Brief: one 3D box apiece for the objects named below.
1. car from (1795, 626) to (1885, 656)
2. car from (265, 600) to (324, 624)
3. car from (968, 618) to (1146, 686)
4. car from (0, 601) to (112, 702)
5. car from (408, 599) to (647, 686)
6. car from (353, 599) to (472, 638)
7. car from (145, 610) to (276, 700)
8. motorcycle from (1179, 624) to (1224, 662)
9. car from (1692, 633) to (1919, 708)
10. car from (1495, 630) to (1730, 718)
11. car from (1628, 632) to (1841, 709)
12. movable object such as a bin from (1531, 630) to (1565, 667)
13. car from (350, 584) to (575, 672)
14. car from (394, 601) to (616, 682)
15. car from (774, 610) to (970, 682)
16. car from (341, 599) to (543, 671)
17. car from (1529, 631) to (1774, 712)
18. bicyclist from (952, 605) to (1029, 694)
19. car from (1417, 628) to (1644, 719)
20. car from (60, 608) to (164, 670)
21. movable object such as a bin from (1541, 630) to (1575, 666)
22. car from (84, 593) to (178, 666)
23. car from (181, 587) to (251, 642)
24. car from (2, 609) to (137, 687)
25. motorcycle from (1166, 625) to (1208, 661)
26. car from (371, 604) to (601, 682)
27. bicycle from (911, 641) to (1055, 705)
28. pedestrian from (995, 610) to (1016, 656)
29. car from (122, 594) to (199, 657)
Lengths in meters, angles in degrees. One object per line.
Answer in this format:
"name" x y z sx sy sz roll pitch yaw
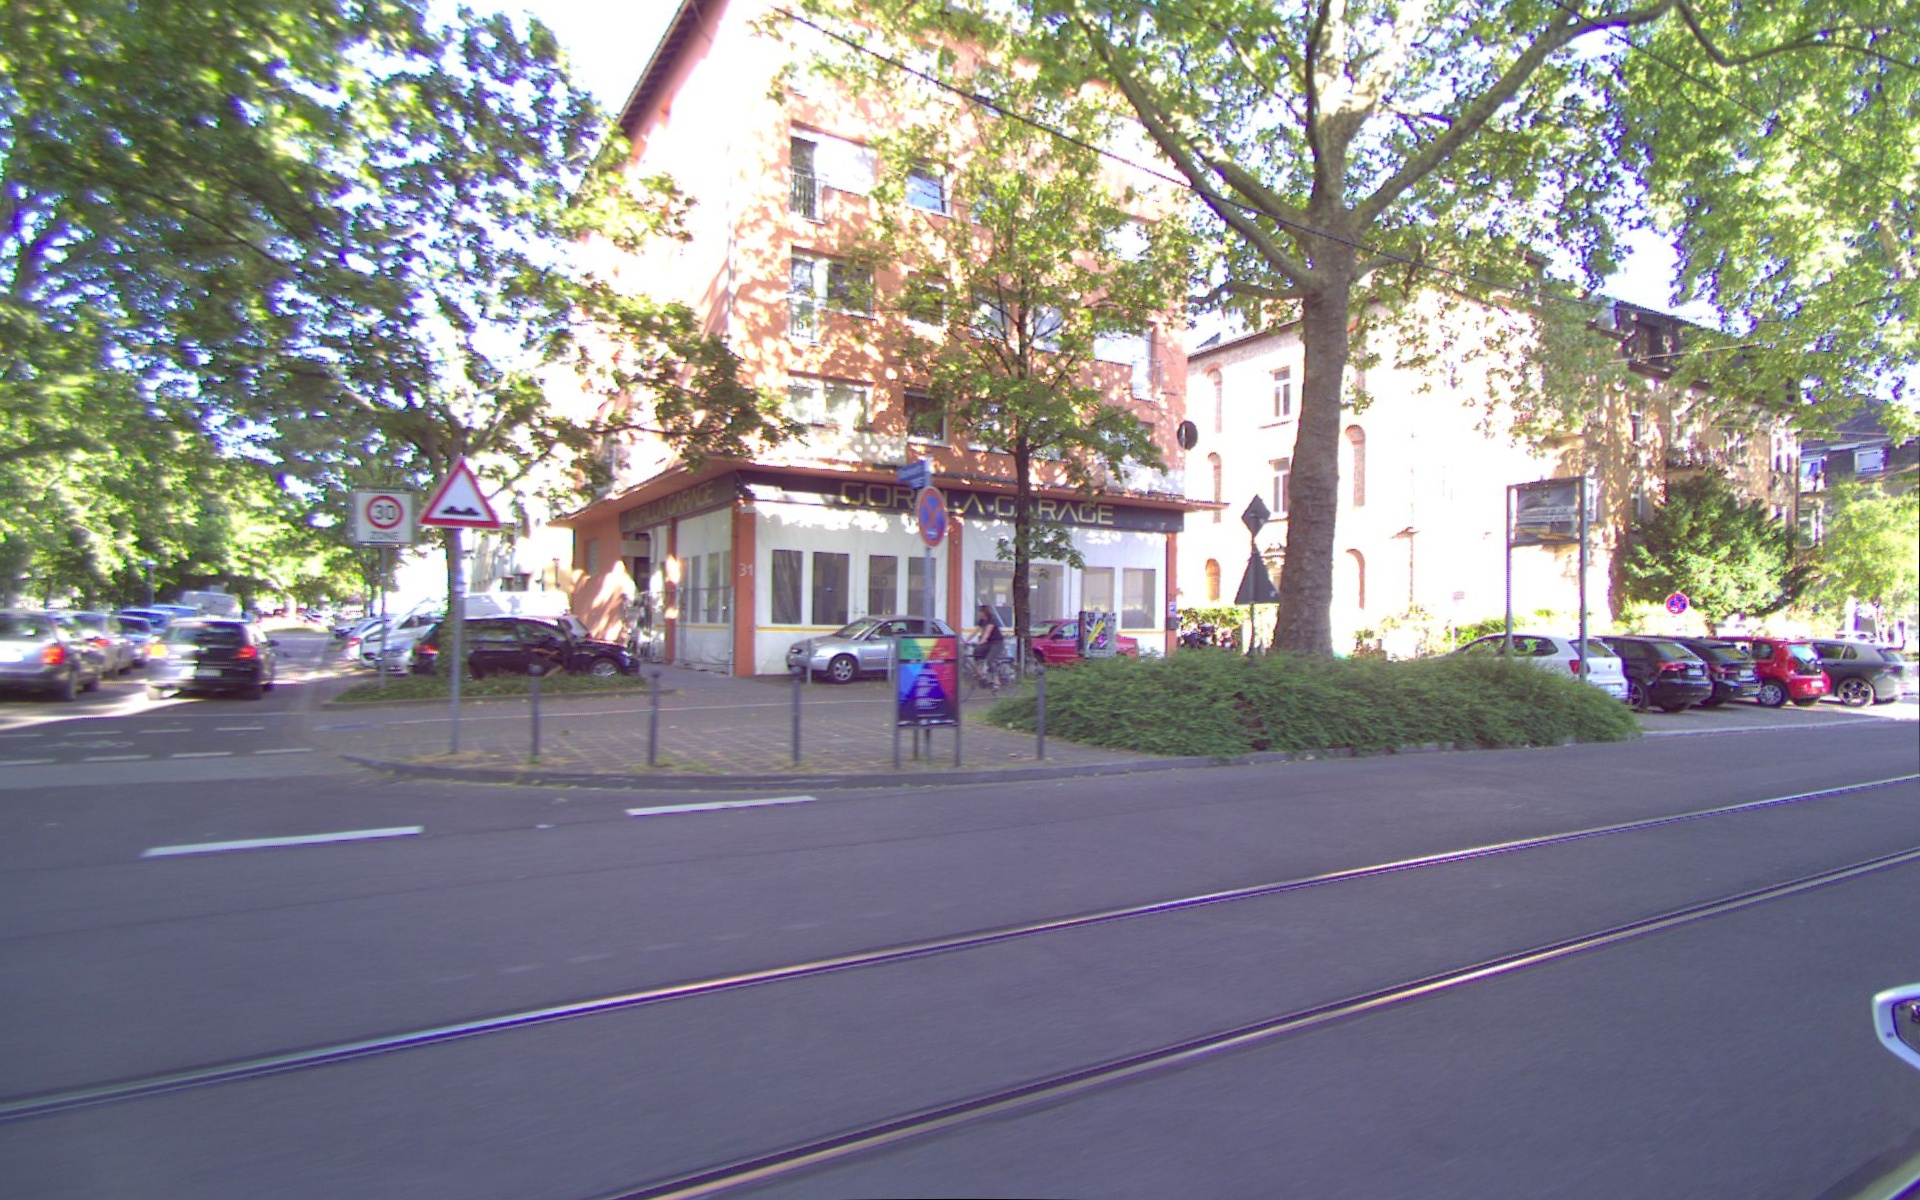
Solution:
"car" 50.154 2.320 57.230 4.669 1.613 1.853 1 0 -20
"car" -64.463 1.167 97.375 4.698 2.274 1.980 2 0 -35
"car" 2.402 1.257 24.746 3.952 1.507 1.939 2 0 -29
"car" -16.042 0.794 17.210 1.842 1.509 4.498 2 0 -35
"car" -8.403 0.795 19.685 3.967 1.513 1.797 2 0 -40
"car" -24.317 0.816 44.685 4.442 1.639 1.930 2 0 -37
"car" -14.089 0.992 19.070 1.726 1.468 3.962 3 -2 -34
"motorcycle" 8.886 1.576 36.903 1.608 1.321 0.639 1 0 -30
"car" 20.033 1.586 23.786 1.832 1.484 3.969 1 0 -29
"car" 12.931 1.408 20.123 1.665 1.484 3.588 1 0 -27
"car" 17.408 1.527 22.722 1.737 1.484 3.407 1 0 -27
"movable object such as a bin" 18.484 1.505 31.580 0.536 1.124 0.721 1 0 -28
"car" -12.551 0.693 25.466 4.871 2.030 1.980 2 0 -35
"car" -9.681 0.847 21.487 3.966 1.546 1.977 2 0 -39
"car" -1.935 0.984 22.172 3.846 1.426 1.939 2 0 -29
"car" -14.484 0.958 28.179 4.868 1.869 1.982 2 0 -34
"car" 14.994 1.487 22.032 1.797 1.484 4.067 1 0 -27
"bicyclist" 0.553 0.863 17.939 1.108 1.527 0.793 1 0 -40
"car" 10.774 1.326 19.191 1.675 1.484 3.407 1 0 -27
"car" -22.345 0.975 26.581 1.671 1.469 3.684 1 0 -34
"movable object such as a bin" 18.971 1.521 31.875 0.553 1.124 0.720 1 0 -28
"car" -24.980 0.841 30.385 1.982 2.040 3.957 1 0 -37
"car" -31.876 0.611 43.170 2.021 2.227 4.703 1 0 -32
"car" -19.245 0.968 21.875 1.807 1.469 4.435 2 0 -37
"motorcycle" 8.507 1.614 37.598 1.545 1.306 0.590 1 0 -30
"car" -10.998 0.960 23.441 4.519 1.639 1.978 2 0 -39
"bicycle" 0.447 1.266 17.865 2.562 1.012 0.960 2 0 -40
"pedestrian" 1.673 1.223 37.048 0.543 1.682 0.500 1 0 -30
"car" -28.187 0.854 35.529 1.982 2.040 4.695 1 0 -37
